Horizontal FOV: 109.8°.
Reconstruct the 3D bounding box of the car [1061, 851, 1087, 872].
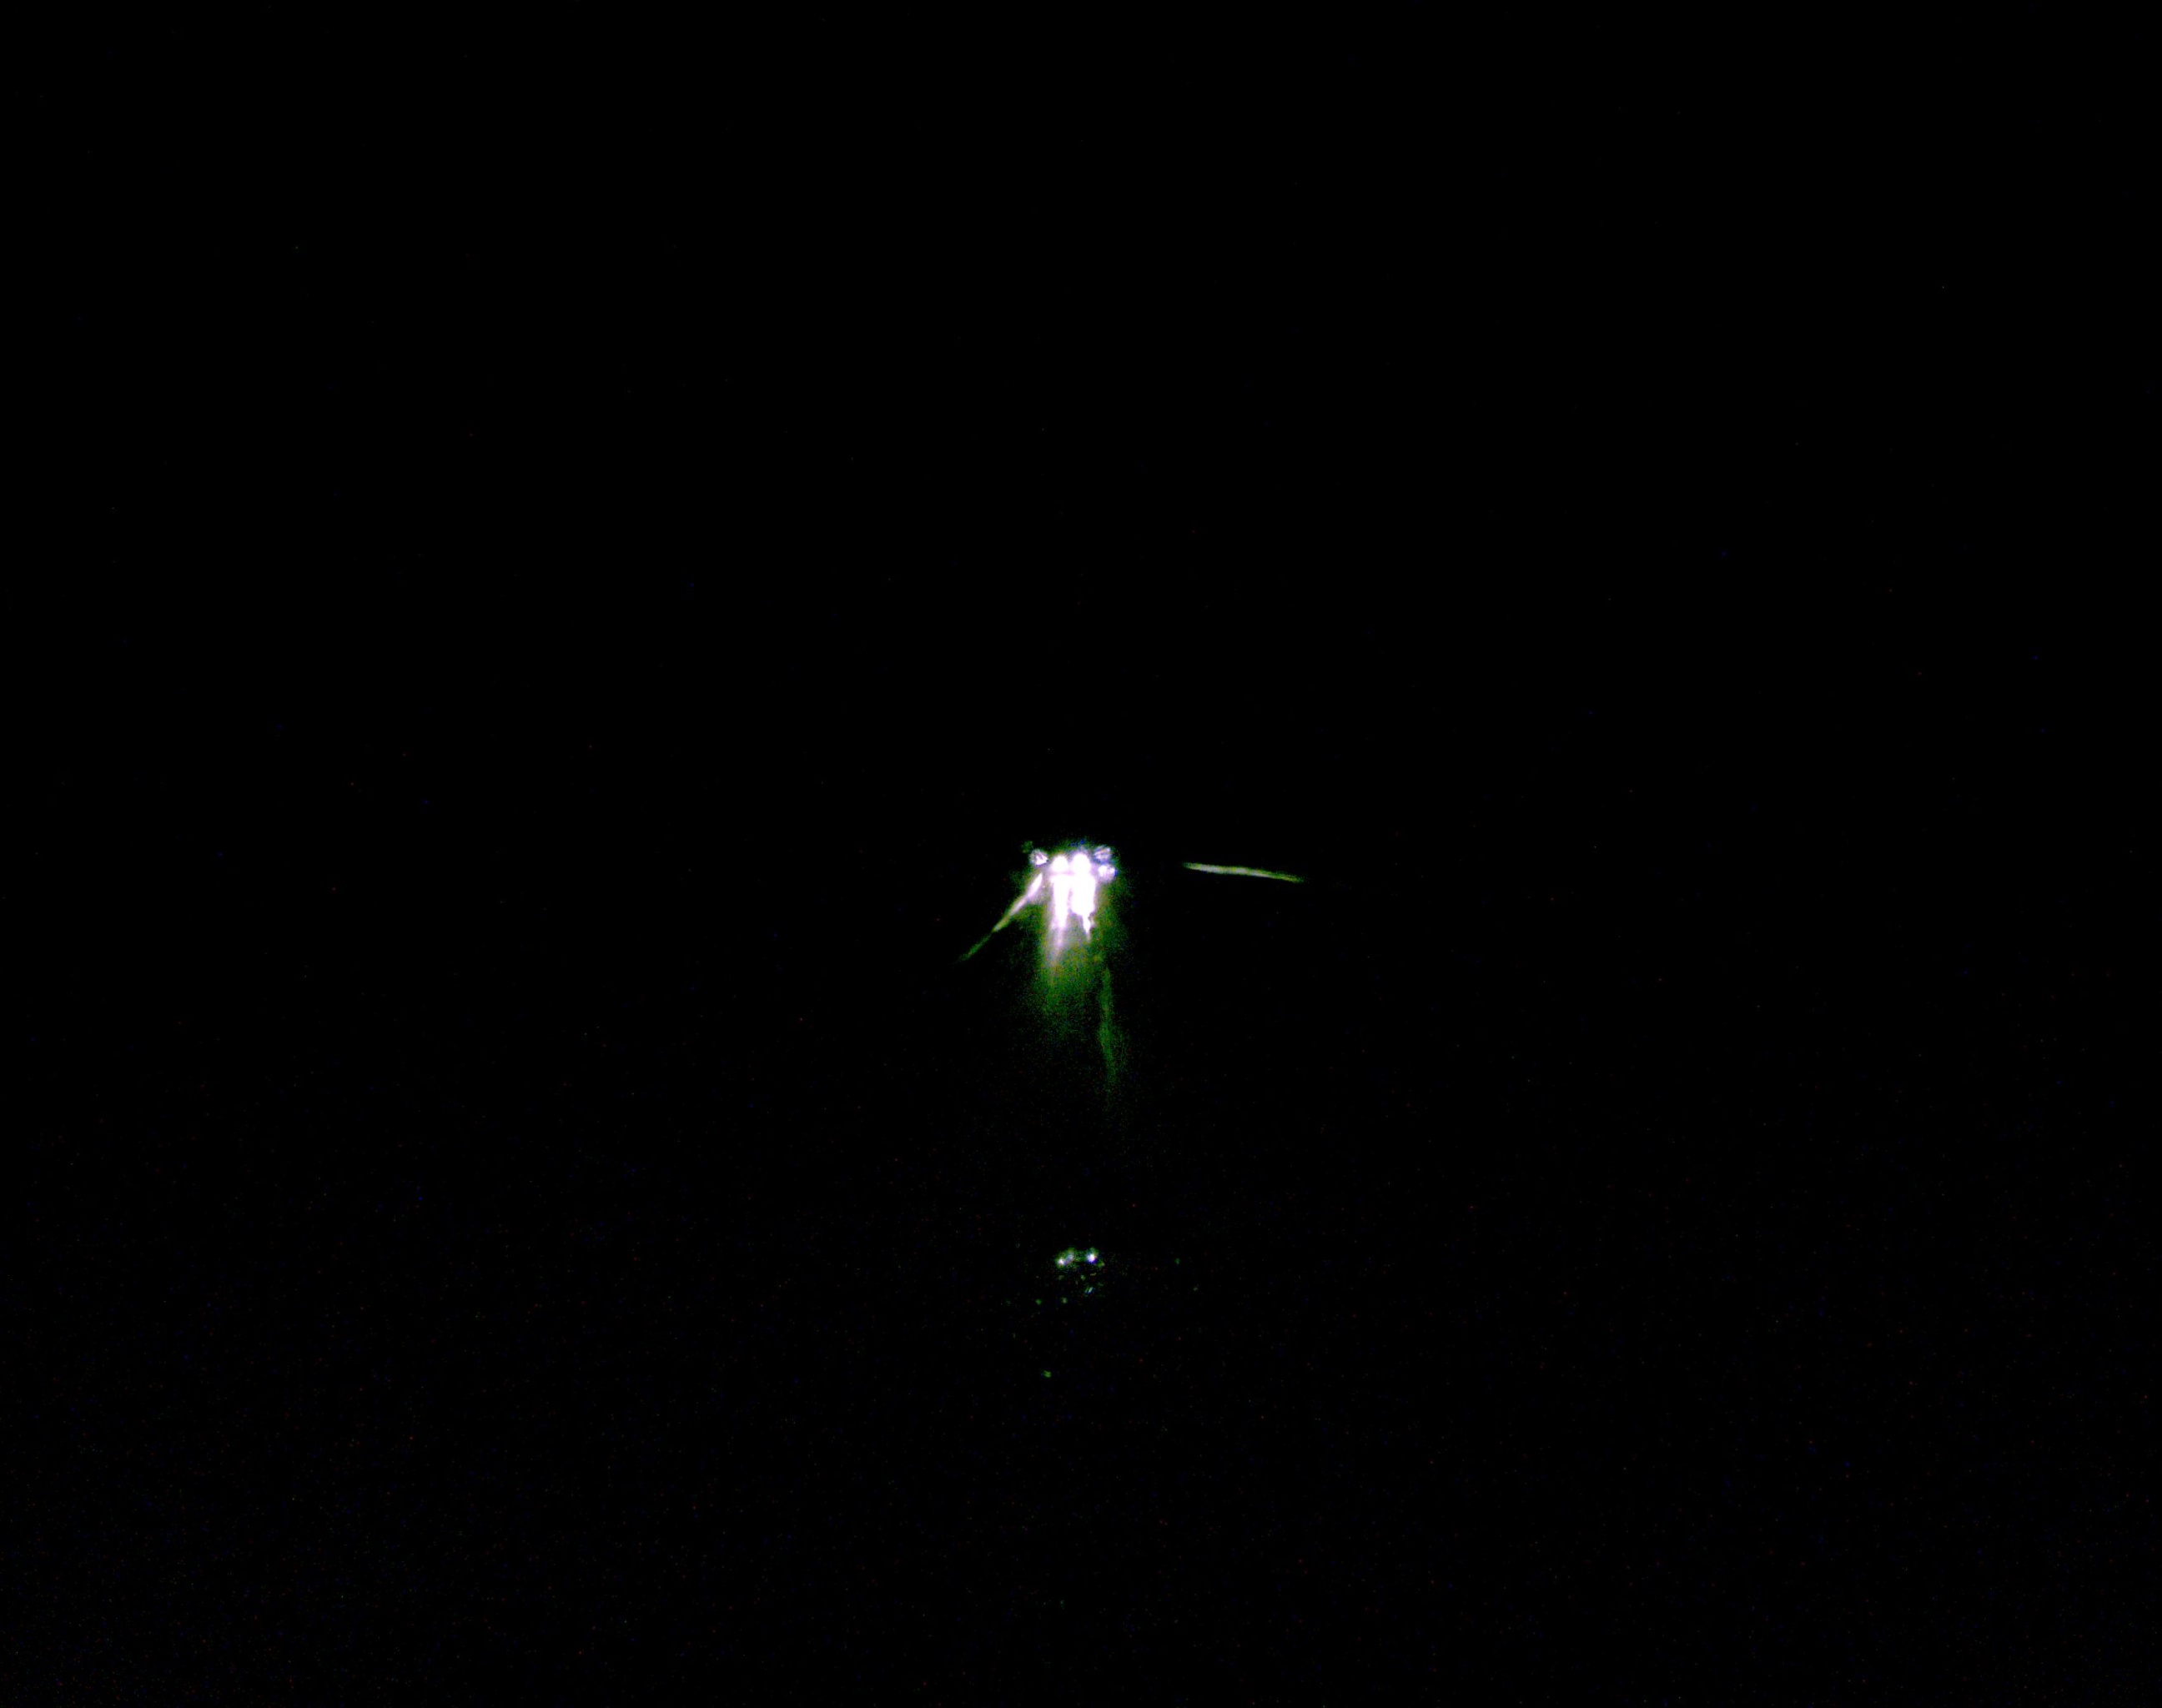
[{"bbox_3d":[-0.551,0.510,56.103,1.776,1.444,4.135,-3,0,-2],"label":"car"}]
